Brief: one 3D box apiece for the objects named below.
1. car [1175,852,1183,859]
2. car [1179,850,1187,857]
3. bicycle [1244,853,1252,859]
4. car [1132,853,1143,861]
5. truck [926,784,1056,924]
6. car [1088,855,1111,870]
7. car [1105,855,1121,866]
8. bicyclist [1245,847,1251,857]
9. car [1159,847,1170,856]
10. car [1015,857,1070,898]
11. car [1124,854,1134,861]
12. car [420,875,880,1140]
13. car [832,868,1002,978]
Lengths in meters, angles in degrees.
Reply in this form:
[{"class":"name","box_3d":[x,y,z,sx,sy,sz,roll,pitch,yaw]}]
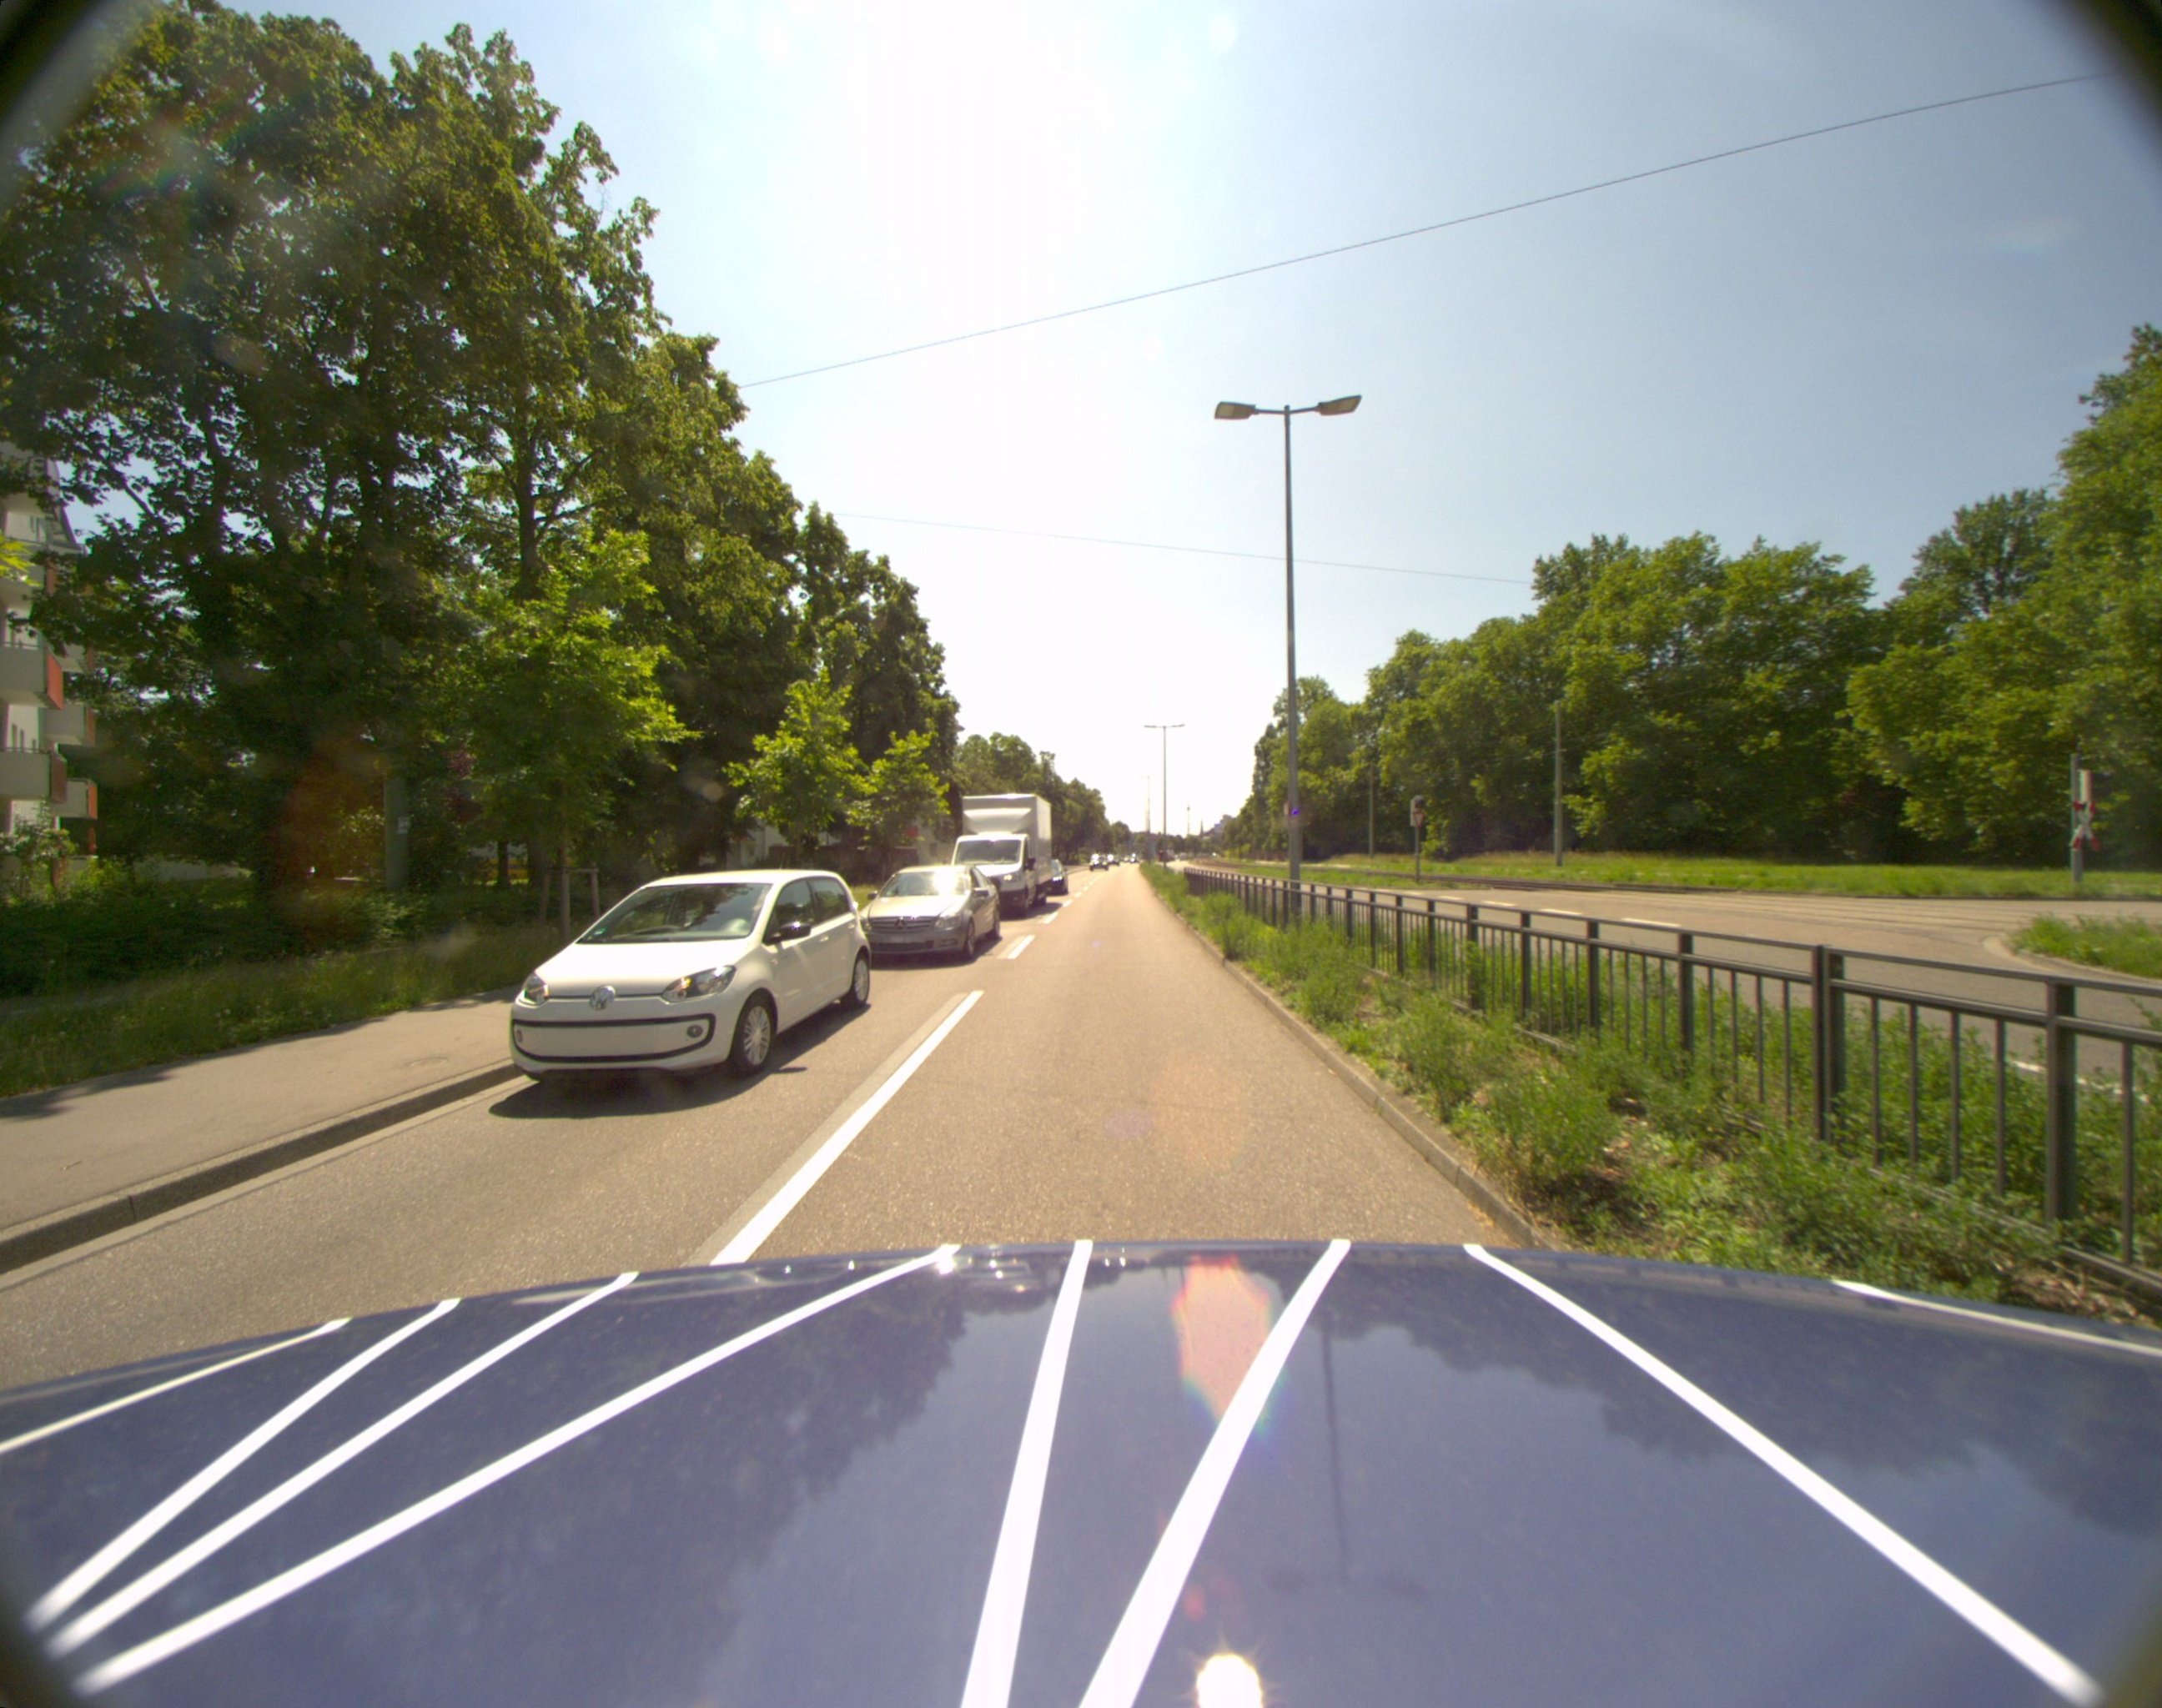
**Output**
[{"class":"car","box_3d":[26.737,0.316,207.147,1.998,1.847,4.001,-1,0,5]},{"class":"car","box_3d":[27.012,-0.237,200.884,1.998,1.847,4.001,-1,0,5]},{"class":"bicycle","box_3d":[30.800,0.328,140.099,0.862,1.155,2.787,-1,0,1]},{"class":"car","box_3d":[10.877,0.589,145.453,1.997,1.499,4.002,-1,0,7]},{"class":"truck","box_3d":[-2.298,-0.006,22.276,2.433,3.326,7.923,-1,0,3]},{"class":"car","box_3d":[1.932,0.833,78.830,1.997,1.499,4.002,-1,0,7]},{"class":"car","box_3d":[4.751,0.985,111.260,1.997,1.499,4.002,-1,0,7]},{"class":"bicyclist","box_3d":[30.813,-0.323,140.035,0.862,1.796,1.118,-1,1,1]},{"class":"car","box_3d":[16.912,-0.535,153.884,1.997,1.847,4.002,-1,0,7]},{"class":"car","box_3d":[-1.508,0.917,31.472,1.998,1.499,4.000,-1,0,1]},{"class":"car","box_3d":[10.439,0.717,164.950,1.951,1.499,4.002,-1,0,7]},{"class":"car","box_3d":[-3.125,0.990,6.516,1.730,1.470,3.771,-1,0,1]},{"class":"car","box_3d":[-2.473,0.988,12.537,1.840,1.400,4.087,-1,0,1]}]
